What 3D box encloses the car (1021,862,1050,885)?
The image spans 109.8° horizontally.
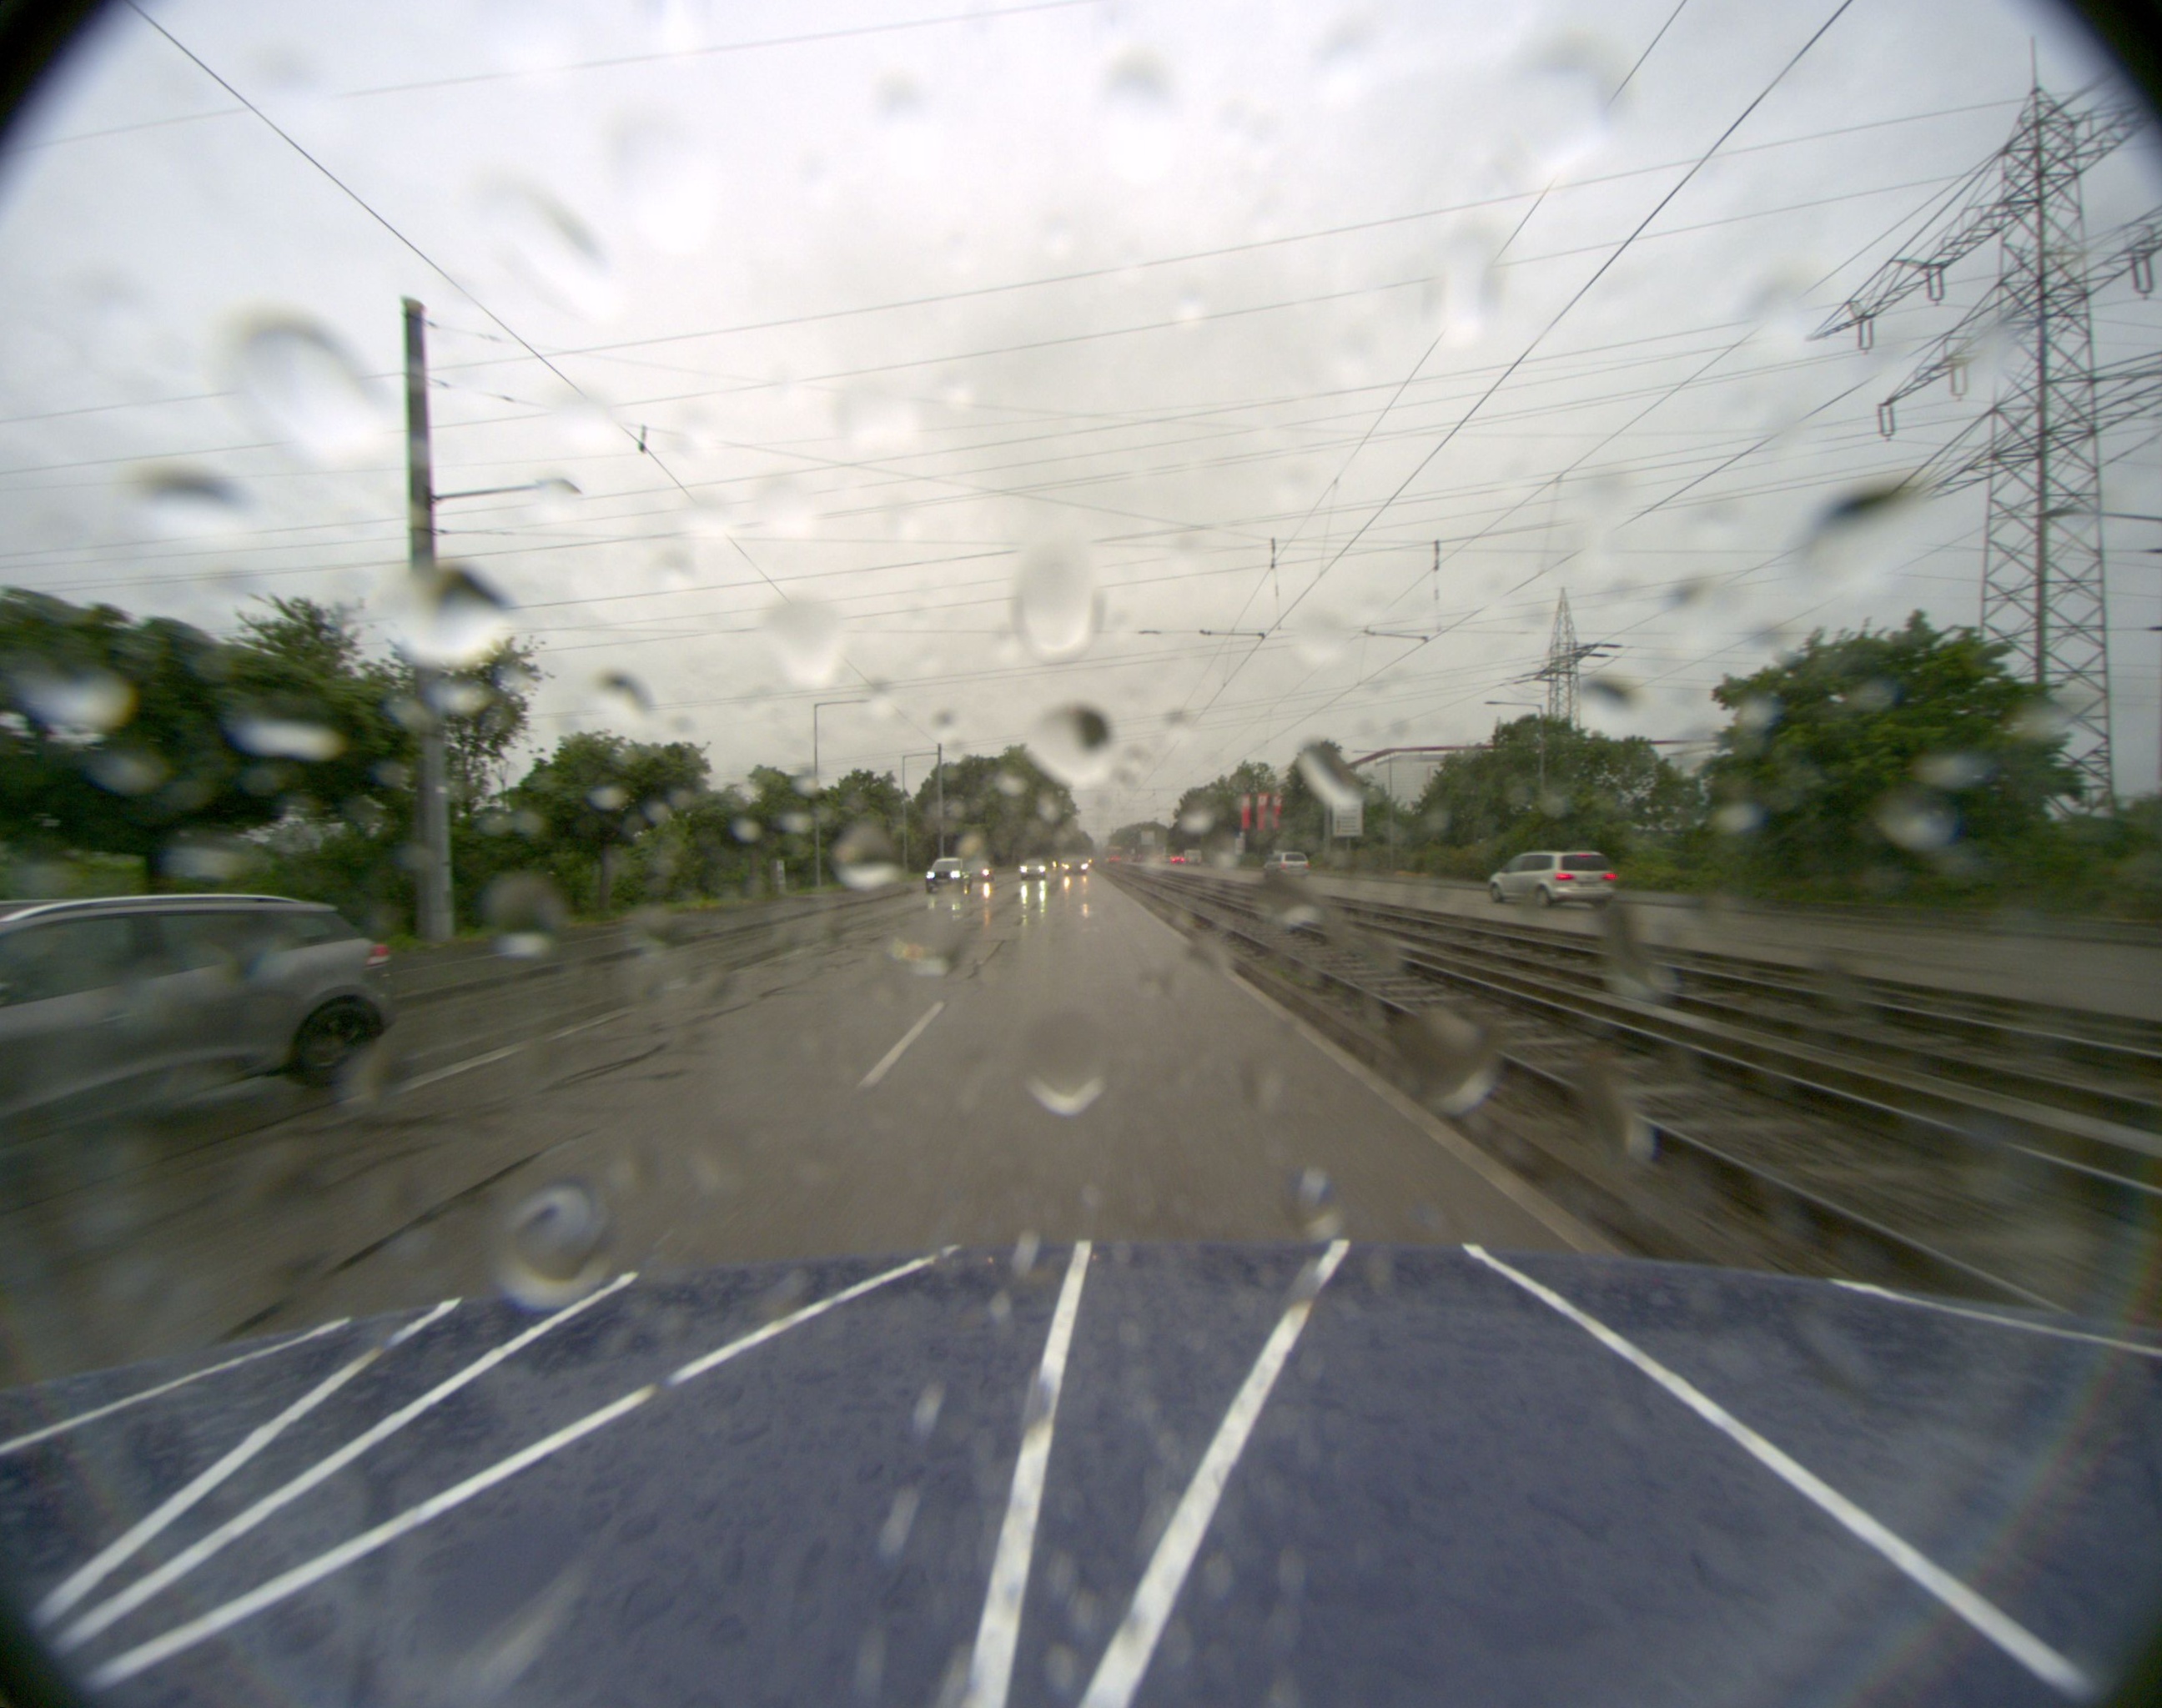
[{"bbox_3d":[-3.217,1.342,54.044,1.807,1.521,3.645,-2,-1,-1],"label":"car"}]

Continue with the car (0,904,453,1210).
[{"bbox_3d":[-6.244,1.105,4.214,1.892,1.349,4.277,-2,-1,1],"label":"car"}]

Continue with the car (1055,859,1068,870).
[{"bbox_3d":[-2.874,1.559,113.683,1.846,1.572,3.838,-2,-1,-1],"label":"car"}]

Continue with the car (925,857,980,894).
[{"bbox_3d":[-6.418,1.027,38.388,1.797,1.692,4.764,-2,-1,1],"label":"car"}]

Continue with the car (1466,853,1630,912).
[{"bbox_3d":[14.112,0.814,23.391,1.847,1.564,5.066,-2,-1,-1],"label":"car"}]

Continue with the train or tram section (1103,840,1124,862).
[{"bbox_3d":[6.138,-0.439,146.913,2.893,3.683,19.529,-2,-1,-1],"label":"train or tram section"}]

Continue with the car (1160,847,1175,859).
[{"bbox_3d":[16.159,-0.215,142.108,2.095,2.088,4.730,-2,-1,-1],"label":"car"}]

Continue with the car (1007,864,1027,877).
[{"bbox_3d":[-7.018,1.796,83.646,1.784,1.419,4.001,-1,-1,1],"label":"car"}]

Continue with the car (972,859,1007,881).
[{"bbox_3d":[-6.269,1.105,52.298,1.784,1.419,4.001,-1,-1,1],"label":"car"}]

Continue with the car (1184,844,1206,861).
[{"bbox_3d":[16.489,-0.166,110.416,2.156,2.284,5.983,2,-1,-1],"label":"car"}]

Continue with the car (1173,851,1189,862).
[{"bbox_3d":[16.439,0.468,125.409,1.901,1.631,4.730,-2,-1,-1],"label":"car"}]

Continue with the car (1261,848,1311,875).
[{"bbox_3d":[13.710,0.502,51.110,1.830,1.625,5.137,-2,-1,-1],"label":"car"}]

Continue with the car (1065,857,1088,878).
[{"bbox_3d":[-0.369,1.128,63.878,1.816,1.692,4.001,-1,-1,1],"label":"car"}]

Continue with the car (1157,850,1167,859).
[{"bbox_3d":[17.801,0.069,167.111,1.868,1.903,4.000,-2,-1,-1],"label":"car"}]
